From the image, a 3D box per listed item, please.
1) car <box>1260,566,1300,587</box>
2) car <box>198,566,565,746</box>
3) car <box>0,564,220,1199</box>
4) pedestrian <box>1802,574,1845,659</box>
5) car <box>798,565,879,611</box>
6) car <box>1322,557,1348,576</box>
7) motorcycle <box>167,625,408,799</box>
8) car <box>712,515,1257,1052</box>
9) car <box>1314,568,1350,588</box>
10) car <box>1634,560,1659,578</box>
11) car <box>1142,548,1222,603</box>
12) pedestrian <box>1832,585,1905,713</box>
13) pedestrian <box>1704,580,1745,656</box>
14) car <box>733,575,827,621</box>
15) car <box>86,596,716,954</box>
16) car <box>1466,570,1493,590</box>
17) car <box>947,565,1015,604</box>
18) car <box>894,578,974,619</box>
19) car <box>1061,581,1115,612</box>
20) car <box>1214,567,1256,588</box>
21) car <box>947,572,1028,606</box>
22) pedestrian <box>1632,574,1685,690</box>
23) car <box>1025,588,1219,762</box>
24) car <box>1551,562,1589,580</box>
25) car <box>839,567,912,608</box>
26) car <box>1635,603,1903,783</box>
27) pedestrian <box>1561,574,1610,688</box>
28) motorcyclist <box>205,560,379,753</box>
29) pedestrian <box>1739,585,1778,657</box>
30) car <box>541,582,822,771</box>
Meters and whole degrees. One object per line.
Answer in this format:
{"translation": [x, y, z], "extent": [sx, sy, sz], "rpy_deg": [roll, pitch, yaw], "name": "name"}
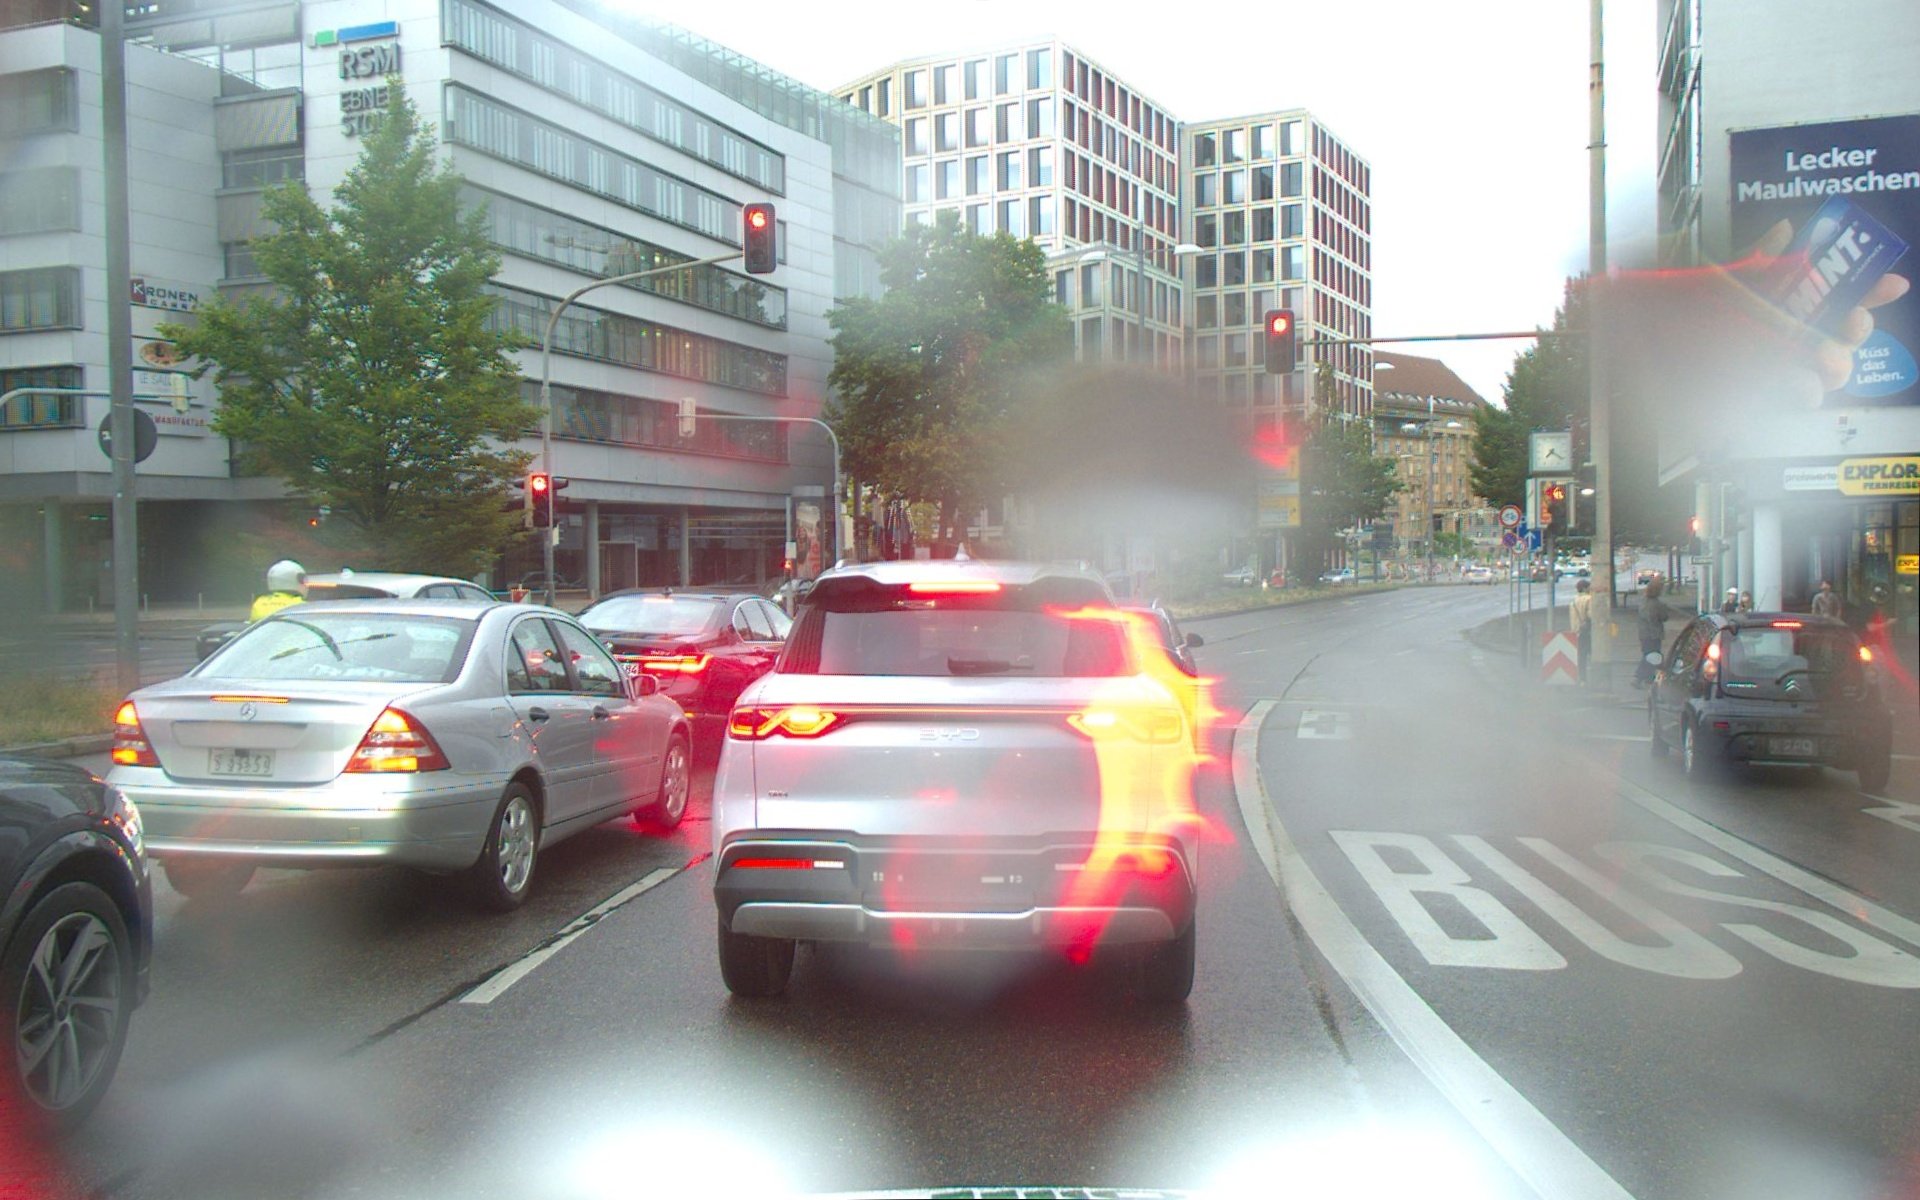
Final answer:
{"translation": [23.862, -1.734, 123.252], "extent": [1.955, 1.514, 3.996], "rpy_deg": [0, 1, 27], "name": "car"}
{"translation": [-5.456, 0.488, 16.189], "extent": [1.670, 1.512, 4.003], "rpy_deg": [1, 0, 9], "name": "car"}
{"translation": [-3.120, 0.684, 3.032], "extent": [1.614, 1.548, 4.271], "rpy_deg": [1, 1, 0], "name": "car"}
{"translation": [18.754, 0.353, 35.925], "extent": [0.659, 1.825, 0.768], "rpy_deg": [1, 0, 43], "name": "pedestrian"}
{"translation": [-4.324, -0.433, 59.451], "extent": [1.609, 1.563, 4.155], "rpy_deg": [1, 0, 16], "name": "car"}
{"translation": [37.199, -3.326, 164.022], "extent": [1.577, 1.771, 3.437], "rpy_deg": [1, 0, 31], "name": "car"}
{"translation": [-5.122, 0.809, 12.764], "extent": [0.783, 1.205, 2.030], "rpy_deg": [1, 0, 8], "name": "motorcycle"}
{"translation": [0.123, 0.600, 7.349], "extent": [1.739, 1.708, 4.000], "rpy_deg": [1, 0, 1], "name": "car"}
{"translation": [30.009, -1.788, 133.255], "extent": [1.955, 1.514, 3.996], "rpy_deg": [0, 1, 27], "name": "car"}
{"translation": [62.887, -2.809, 151.453], "extent": [1.662, 1.512, 3.993], "rpy_deg": [1, 0, 29], "name": "car"}
{"translation": [8.808, -0.943, 65.285], "extent": [1.953, 2.049, 4.848], "rpy_deg": [1, 0, 22], "name": "car"}
{"translation": [12.731, 0.669, 23.198], "extent": [0.753, 1.762, 0.597], "rpy_deg": [0, 0, 13], "name": "pedestrian"}
{"translation": [17.167, 0.406, 37.155], "extent": [0.659, 1.684, 0.649], "rpy_deg": [1, 0, 43], "name": "pedestrian"}
{"translation": [-6.675, -0.087, 61.729], "extent": [1.952, 1.639, 4.001], "rpy_deg": [1, 1, 20], "name": "car"}
{"translation": [-2.616, 0.721, 8.844], "extent": [1.537, 1.432, 4.112], "rpy_deg": [1, 0, 7], "name": "car"}
{"translation": [43.044, -1.666, 136.918], "extent": [1.849, 1.671, 4.000], "rpy_deg": [1, 1, 22], "name": "car"}
{"translation": [0.921, -0.672, 70.505], "extent": [1.610, 1.608, 4.086], "rpy_deg": [1, 0, 21], "name": "car"}
{"translation": [-0.882, -0.035, 58.769], "extent": [1.655, 1.409, 3.870], "rpy_deg": [1, 0, 18], "name": "car"}
{"translation": [6.957, -0.197, 89.571], "extent": [1.598, 1.586, 4.592], "rpy_deg": [0, 1, 23], "name": "car"}
{"translation": [20.502, -1.666, 123.187], "extent": [1.955, 1.514, 3.996], "rpy_deg": [0, 1, 27], "name": "car"}
{"translation": [1.367, -0.537, 79.097], "extent": [1.779, 1.536, 5.189], "rpy_deg": [0, 1, 28], "name": "car"}
{"translation": [11.228, 0.500, 26.589], "extent": [0.733, 1.829, 0.817], "rpy_deg": [0, 1, 20], "name": "pedestrian"}
{"translation": [1.741, 0.672, 16.658], "extent": [1.657, 1.512, 4.003], "rpy_deg": [1, 0, 10], "name": "car"}
{"translation": [69.098, -3.274, 187.254], "extent": [3.908, 2.049, 1.998], "rpy_deg": [1, 0, 26], "name": "car"}
{"translation": [-3.479, -0.506, 68.754], "extent": [1.605, 1.598, 3.718], "rpy_deg": [1, 0, 22], "name": "car"}
{"translation": [7.485, 0.777, 15.657], "extent": [1.537, 1.454, 4.003], "rpy_deg": [1, 0, 15], "name": "car"}
{"translation": [10.268, 0.492, 27.163], "extent": [0.733, 1.829, 0.817], "rpy_deg": [0, 1, 20], "name": "pedestrian"}
{"translation": [-5.115, 0.418, 12.728], "extent": [0.753, 1.404, 1.119], "rpy_deg": [1, 0, 9], "name": "motorcyclist"}
{"translation": [17.690, 0.449, 36.648], "extent": [0.615, 1.570, 0.649], "rpy_deg": [1, 0, 43], "name": "pedestrian"}
{"translation": [-2.438, 0.631, 15.457], "extent": [1.537, 1.512, 4.003], "rpy_deg": [1, 0, 6], "name": "car"}
